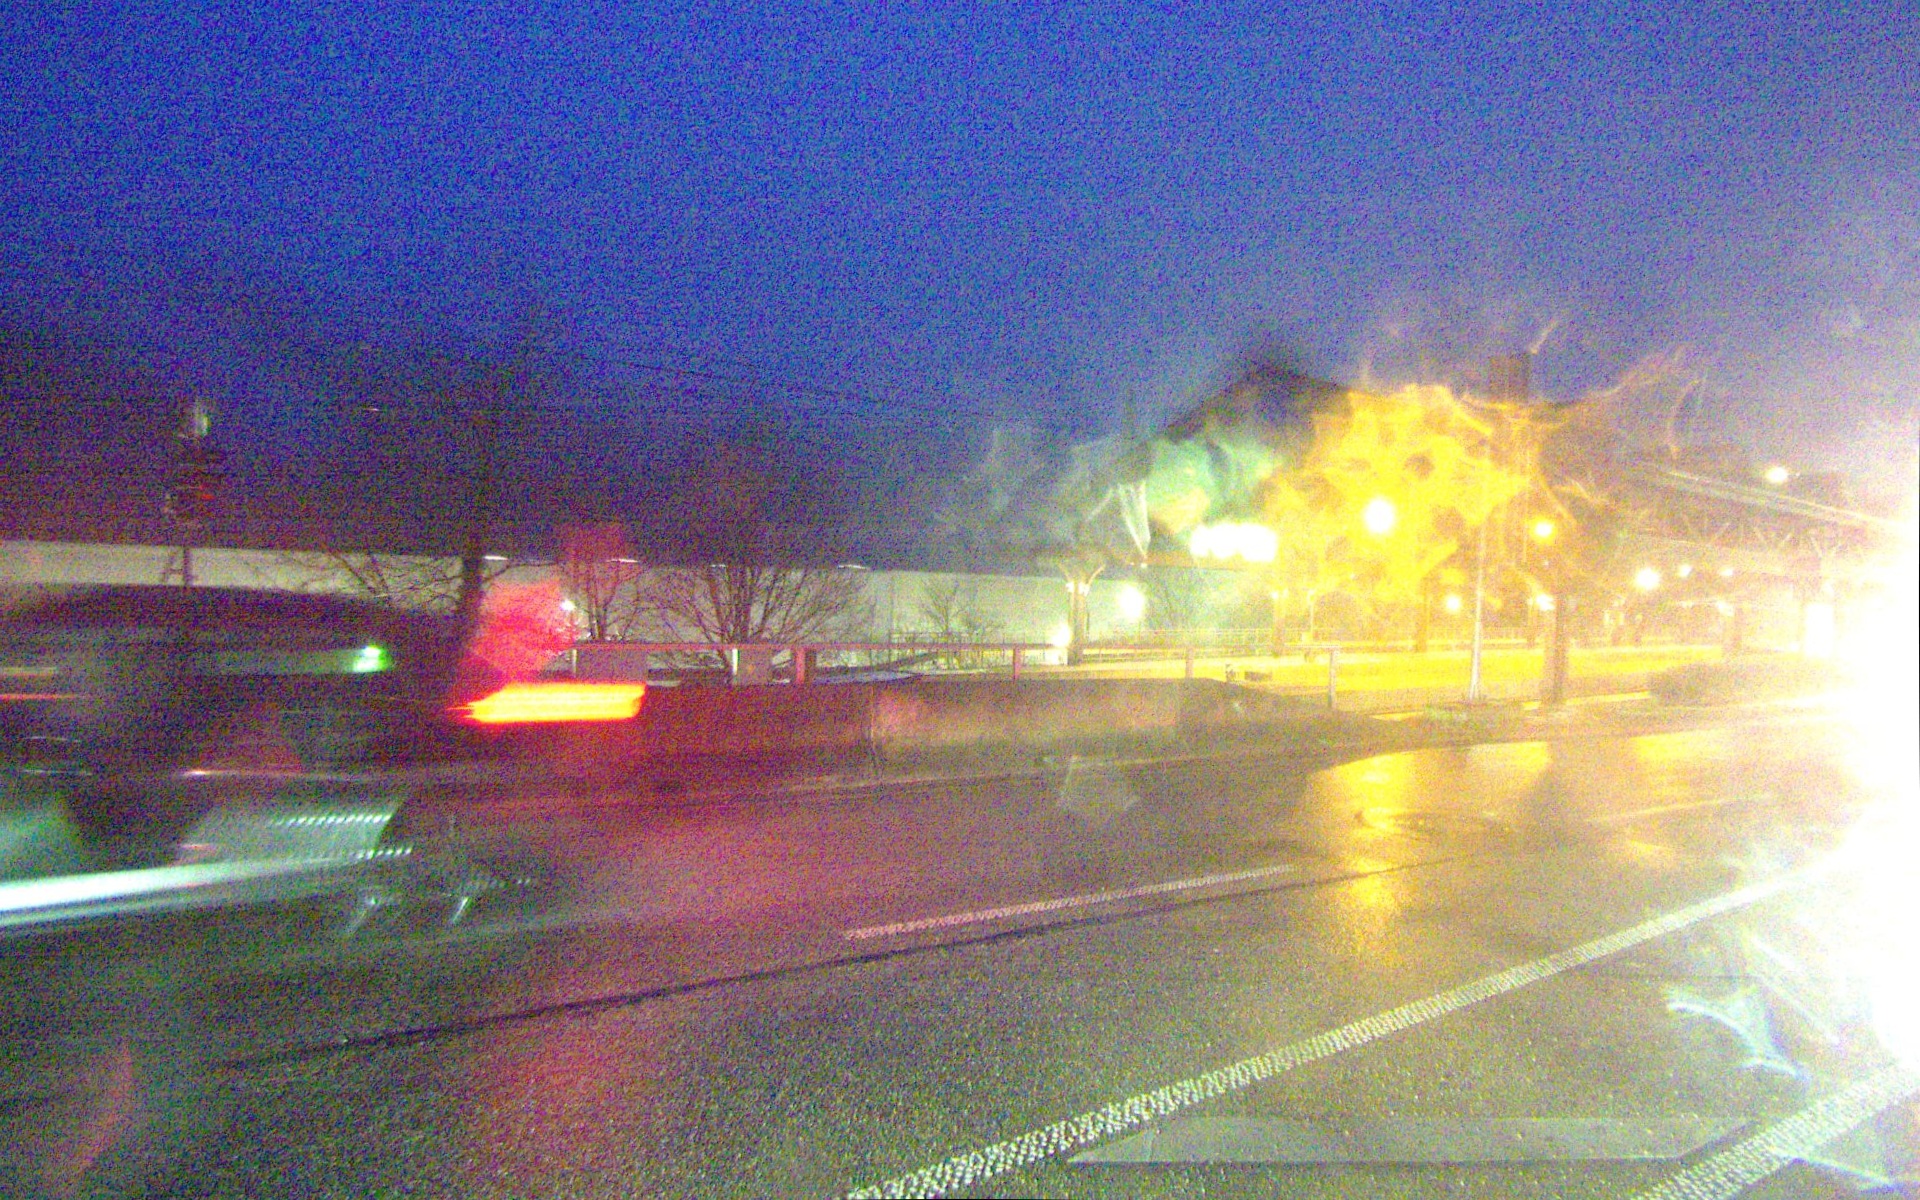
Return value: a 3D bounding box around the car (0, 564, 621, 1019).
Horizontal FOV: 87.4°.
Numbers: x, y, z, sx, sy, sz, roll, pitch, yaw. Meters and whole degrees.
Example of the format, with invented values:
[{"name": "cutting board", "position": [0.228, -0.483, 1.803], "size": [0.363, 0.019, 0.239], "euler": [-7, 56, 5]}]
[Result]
[{"name": "car", "position": [-3.919, 0.669, 4.259], "size": [4.433, 1.589, 1.878], "euler": [0, 0, -31]}]
